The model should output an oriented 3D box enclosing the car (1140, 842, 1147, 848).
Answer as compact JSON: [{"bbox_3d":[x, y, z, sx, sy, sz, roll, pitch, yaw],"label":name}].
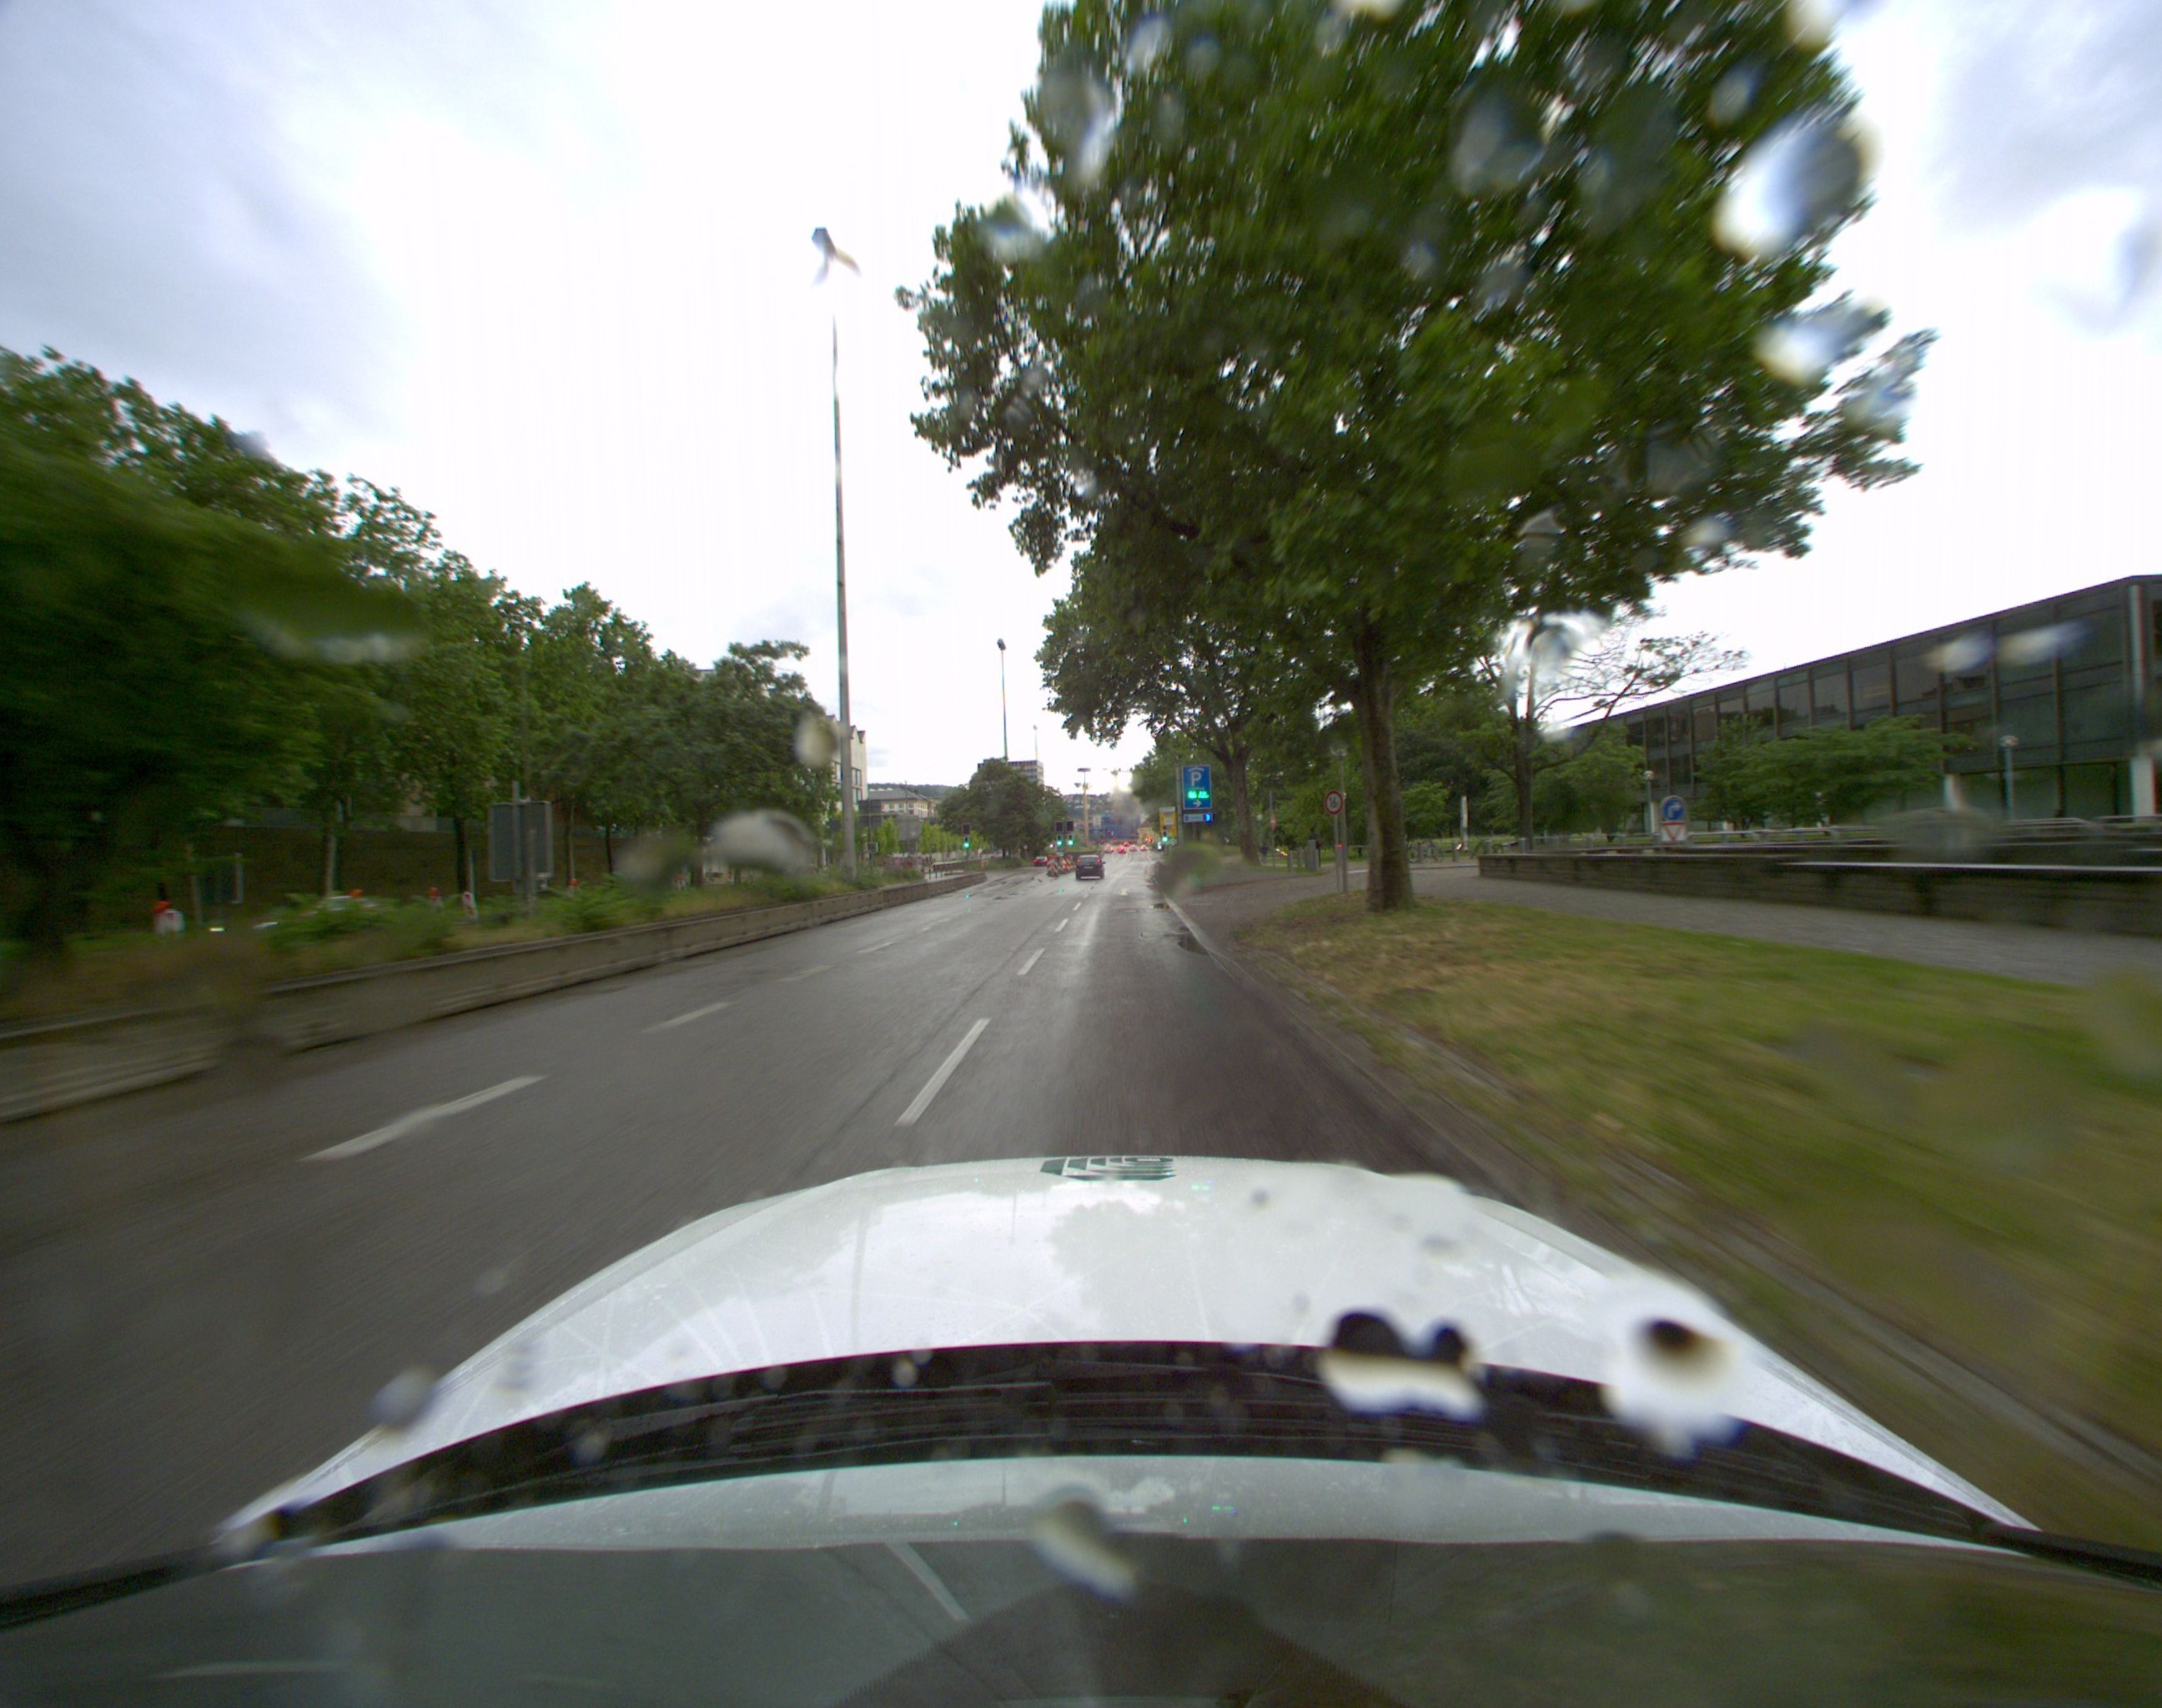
[{"bbox_3d":[18.542,-2.759,241.878,1.984,1.599,4.006,-4,-1,5],"label":"car"}]

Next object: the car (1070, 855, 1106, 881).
[{"bbox_3d":[0.391,0.840,49.564,1.840,1.416,3.834,-4,-1,-4],"label":"car"}]

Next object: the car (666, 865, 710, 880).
[{"bbox_3d":[-44.985,2.106,93.327,3.974,1.596,2.000,-2,0,-1],"label":"car"}]

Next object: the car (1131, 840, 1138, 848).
[{"bbox_3d":[15.778,-2.861,239.500,1.979,2.013,4.003,-4,-1,3],"label":"car"}]

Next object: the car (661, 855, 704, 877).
[{"bbox_3d":[-46.653,1.409,95.372,3.966,2.011,2.006,5,7,7],"label":"car"}]

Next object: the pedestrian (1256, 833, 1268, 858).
[{"bbox_3d":[13.207,-0.600,59.383,0.592,1.755,0.725,-4,0,0],"label":"pedestrian"}]

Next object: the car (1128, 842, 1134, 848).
[{"bbox_3d":[15.138,-2.723,245.157,1.704,1.690,3.854,-4,-1,5],"label":"car"}]

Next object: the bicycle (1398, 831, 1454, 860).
[{"bbox_3d":[15.098,-0.378,35.686,2.033,1.173,0.957,-3,0,-9],"label":"bicycle"}]

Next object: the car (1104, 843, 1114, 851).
[{"bbox_3d":[7.799,-1.962,223.661,2.207,2.013,4.009,-2,0,8],"label":"car"}]

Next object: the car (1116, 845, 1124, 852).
[{"bbox_3d":[10.179,-1.465,211.350,1.731,1.771,4.004,-4,-1,4],"label":"car"}]

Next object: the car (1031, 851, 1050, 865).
[{"bbox_3d":[-5.341,0.505,108.702,1.985,1.781,4.004,-3,0,3],"label":"car"}]

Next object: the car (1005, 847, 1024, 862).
[{"bbox_3d":[-7.946,0.075,97.583,1.989,1.632,3.996,-2,0,-2],"label":"car"}]

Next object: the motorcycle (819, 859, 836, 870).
[{"bbox_3d":[-29.384,1.191,94.335,1.843,1.154,0.423,-3,0,-25],"label":"motorcycle"}]

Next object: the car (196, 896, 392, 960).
[{"bbox_3d":[-24.113,2.223,25.199,1.985,1.530,4.003,-4,-1,3],"label":"car"}]

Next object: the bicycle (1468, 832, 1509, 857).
[{"bbox_3d":[19.673,-0.456,39.328,1.638,1.085,0.708,-3,1,-4],"label":"bicycle"}]

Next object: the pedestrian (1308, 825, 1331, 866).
[{"bbox_3d":[10.225,-0.372,34.980,0.702,1.718,0.693,-4,0,2],"label":"pedestrian"}]
